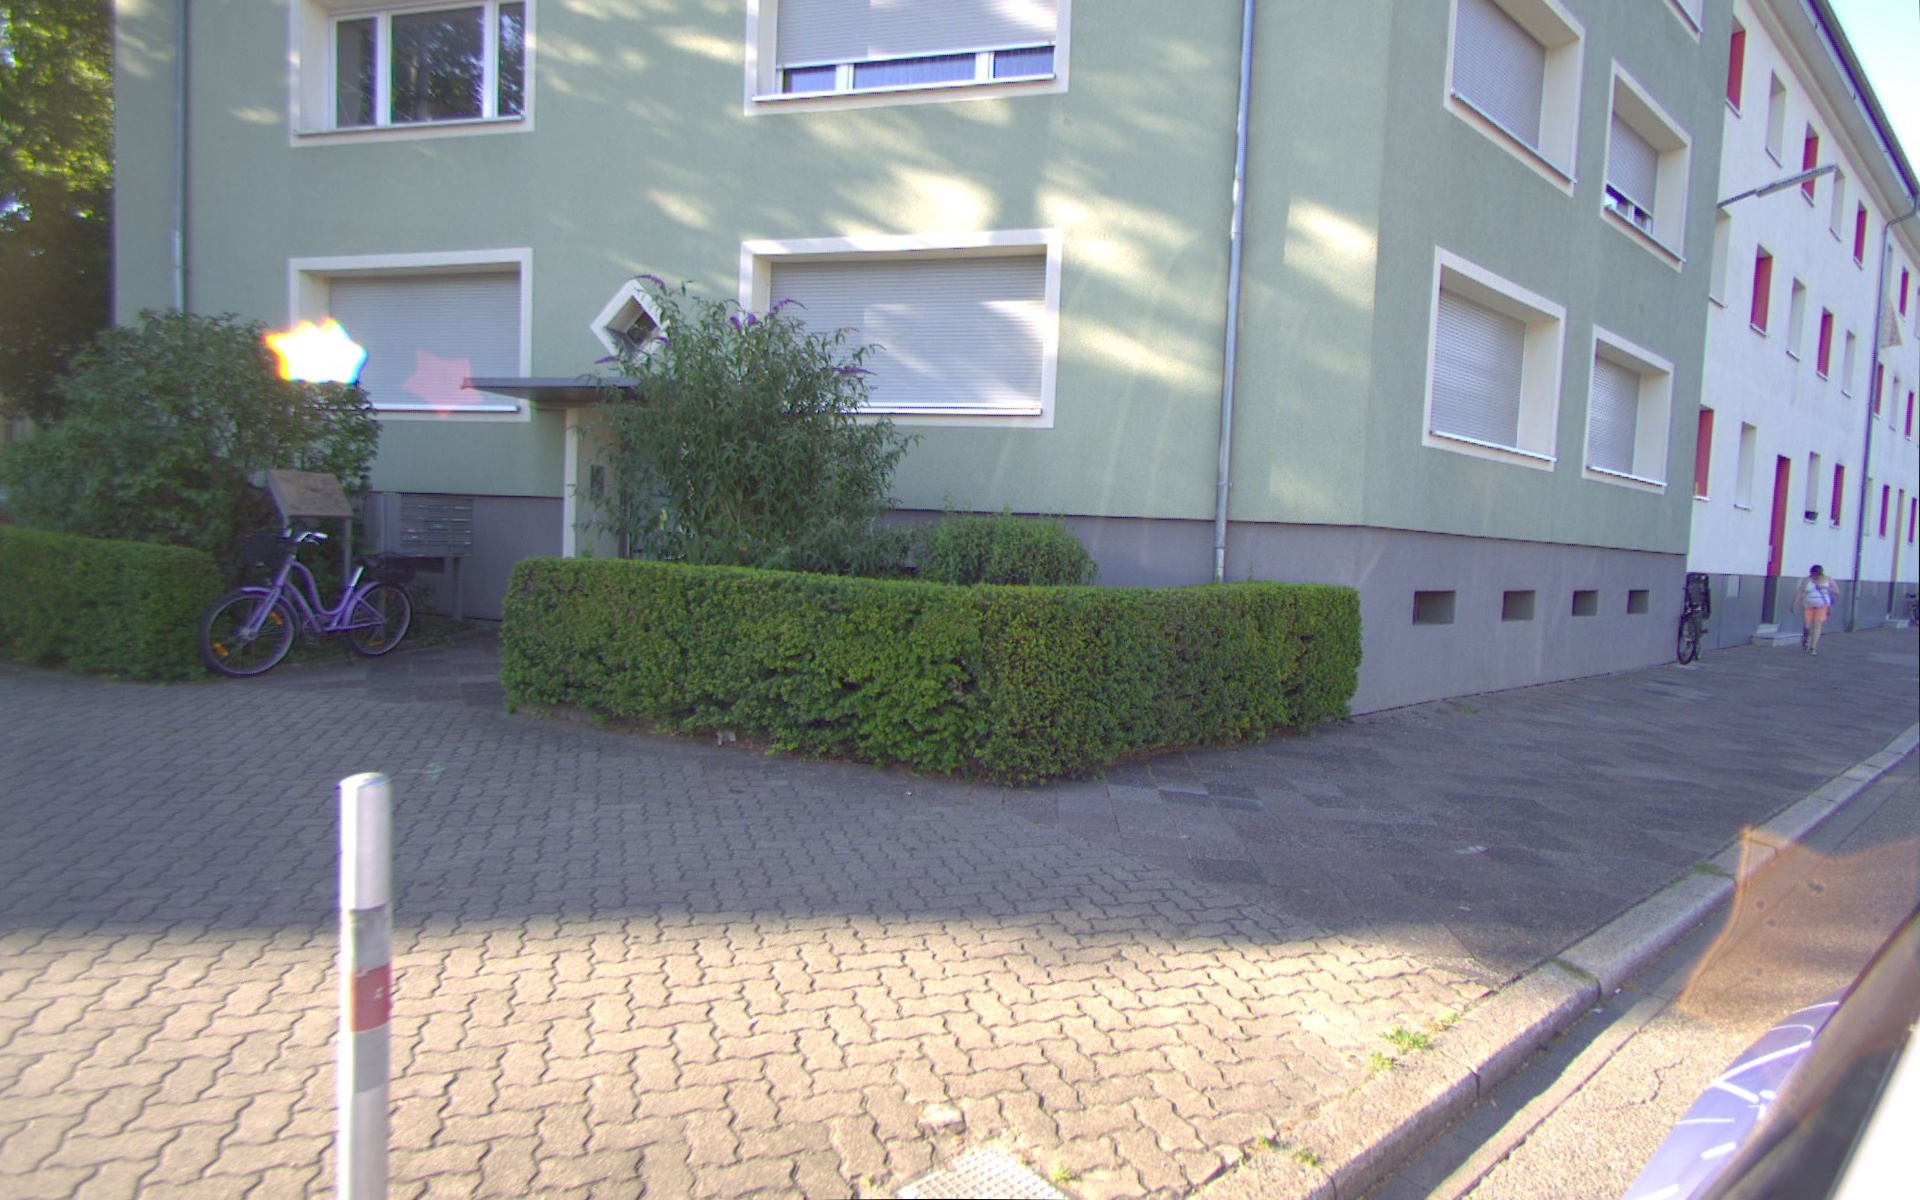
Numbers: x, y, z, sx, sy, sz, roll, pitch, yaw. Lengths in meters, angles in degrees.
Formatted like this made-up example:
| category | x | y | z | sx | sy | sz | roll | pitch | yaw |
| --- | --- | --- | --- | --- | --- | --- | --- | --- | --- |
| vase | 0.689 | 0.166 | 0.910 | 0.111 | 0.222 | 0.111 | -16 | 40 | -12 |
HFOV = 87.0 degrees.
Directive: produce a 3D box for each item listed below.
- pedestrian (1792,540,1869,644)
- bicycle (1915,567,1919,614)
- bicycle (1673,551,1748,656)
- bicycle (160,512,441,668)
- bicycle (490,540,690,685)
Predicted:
| category | x | y | z | sx | sy | sz | roll | pitch | yaw |
| --- | --- | --- | --- | --- | --- | --- | --- | --- | --- |
| pedestrian | 15.159 | -0.151 | 17.627 | 0.933 | 1.727 | 0.787 | 0 | 4 | -41 |
| bicycle | 30.203 | -0.287 | 31.502 | 1.843 | 1.429 | 0.517 | -1 | 4 | -44 |
| bicycle | 10.929 | 0.027 | 14.723 | 1.843 | 1.429 | 0.517 | -1 | 4 | -44 |
| bicycle | -5.104 | -0.120 | 7.996 | 0.515 | 1.069 | 1.920 | 3 | 4 | 22 |
| bicycle | -2.921 | 0.035 | 8.203 | 0.636 | 1.014 | 1.842 | 3 | 4 | 12 |
